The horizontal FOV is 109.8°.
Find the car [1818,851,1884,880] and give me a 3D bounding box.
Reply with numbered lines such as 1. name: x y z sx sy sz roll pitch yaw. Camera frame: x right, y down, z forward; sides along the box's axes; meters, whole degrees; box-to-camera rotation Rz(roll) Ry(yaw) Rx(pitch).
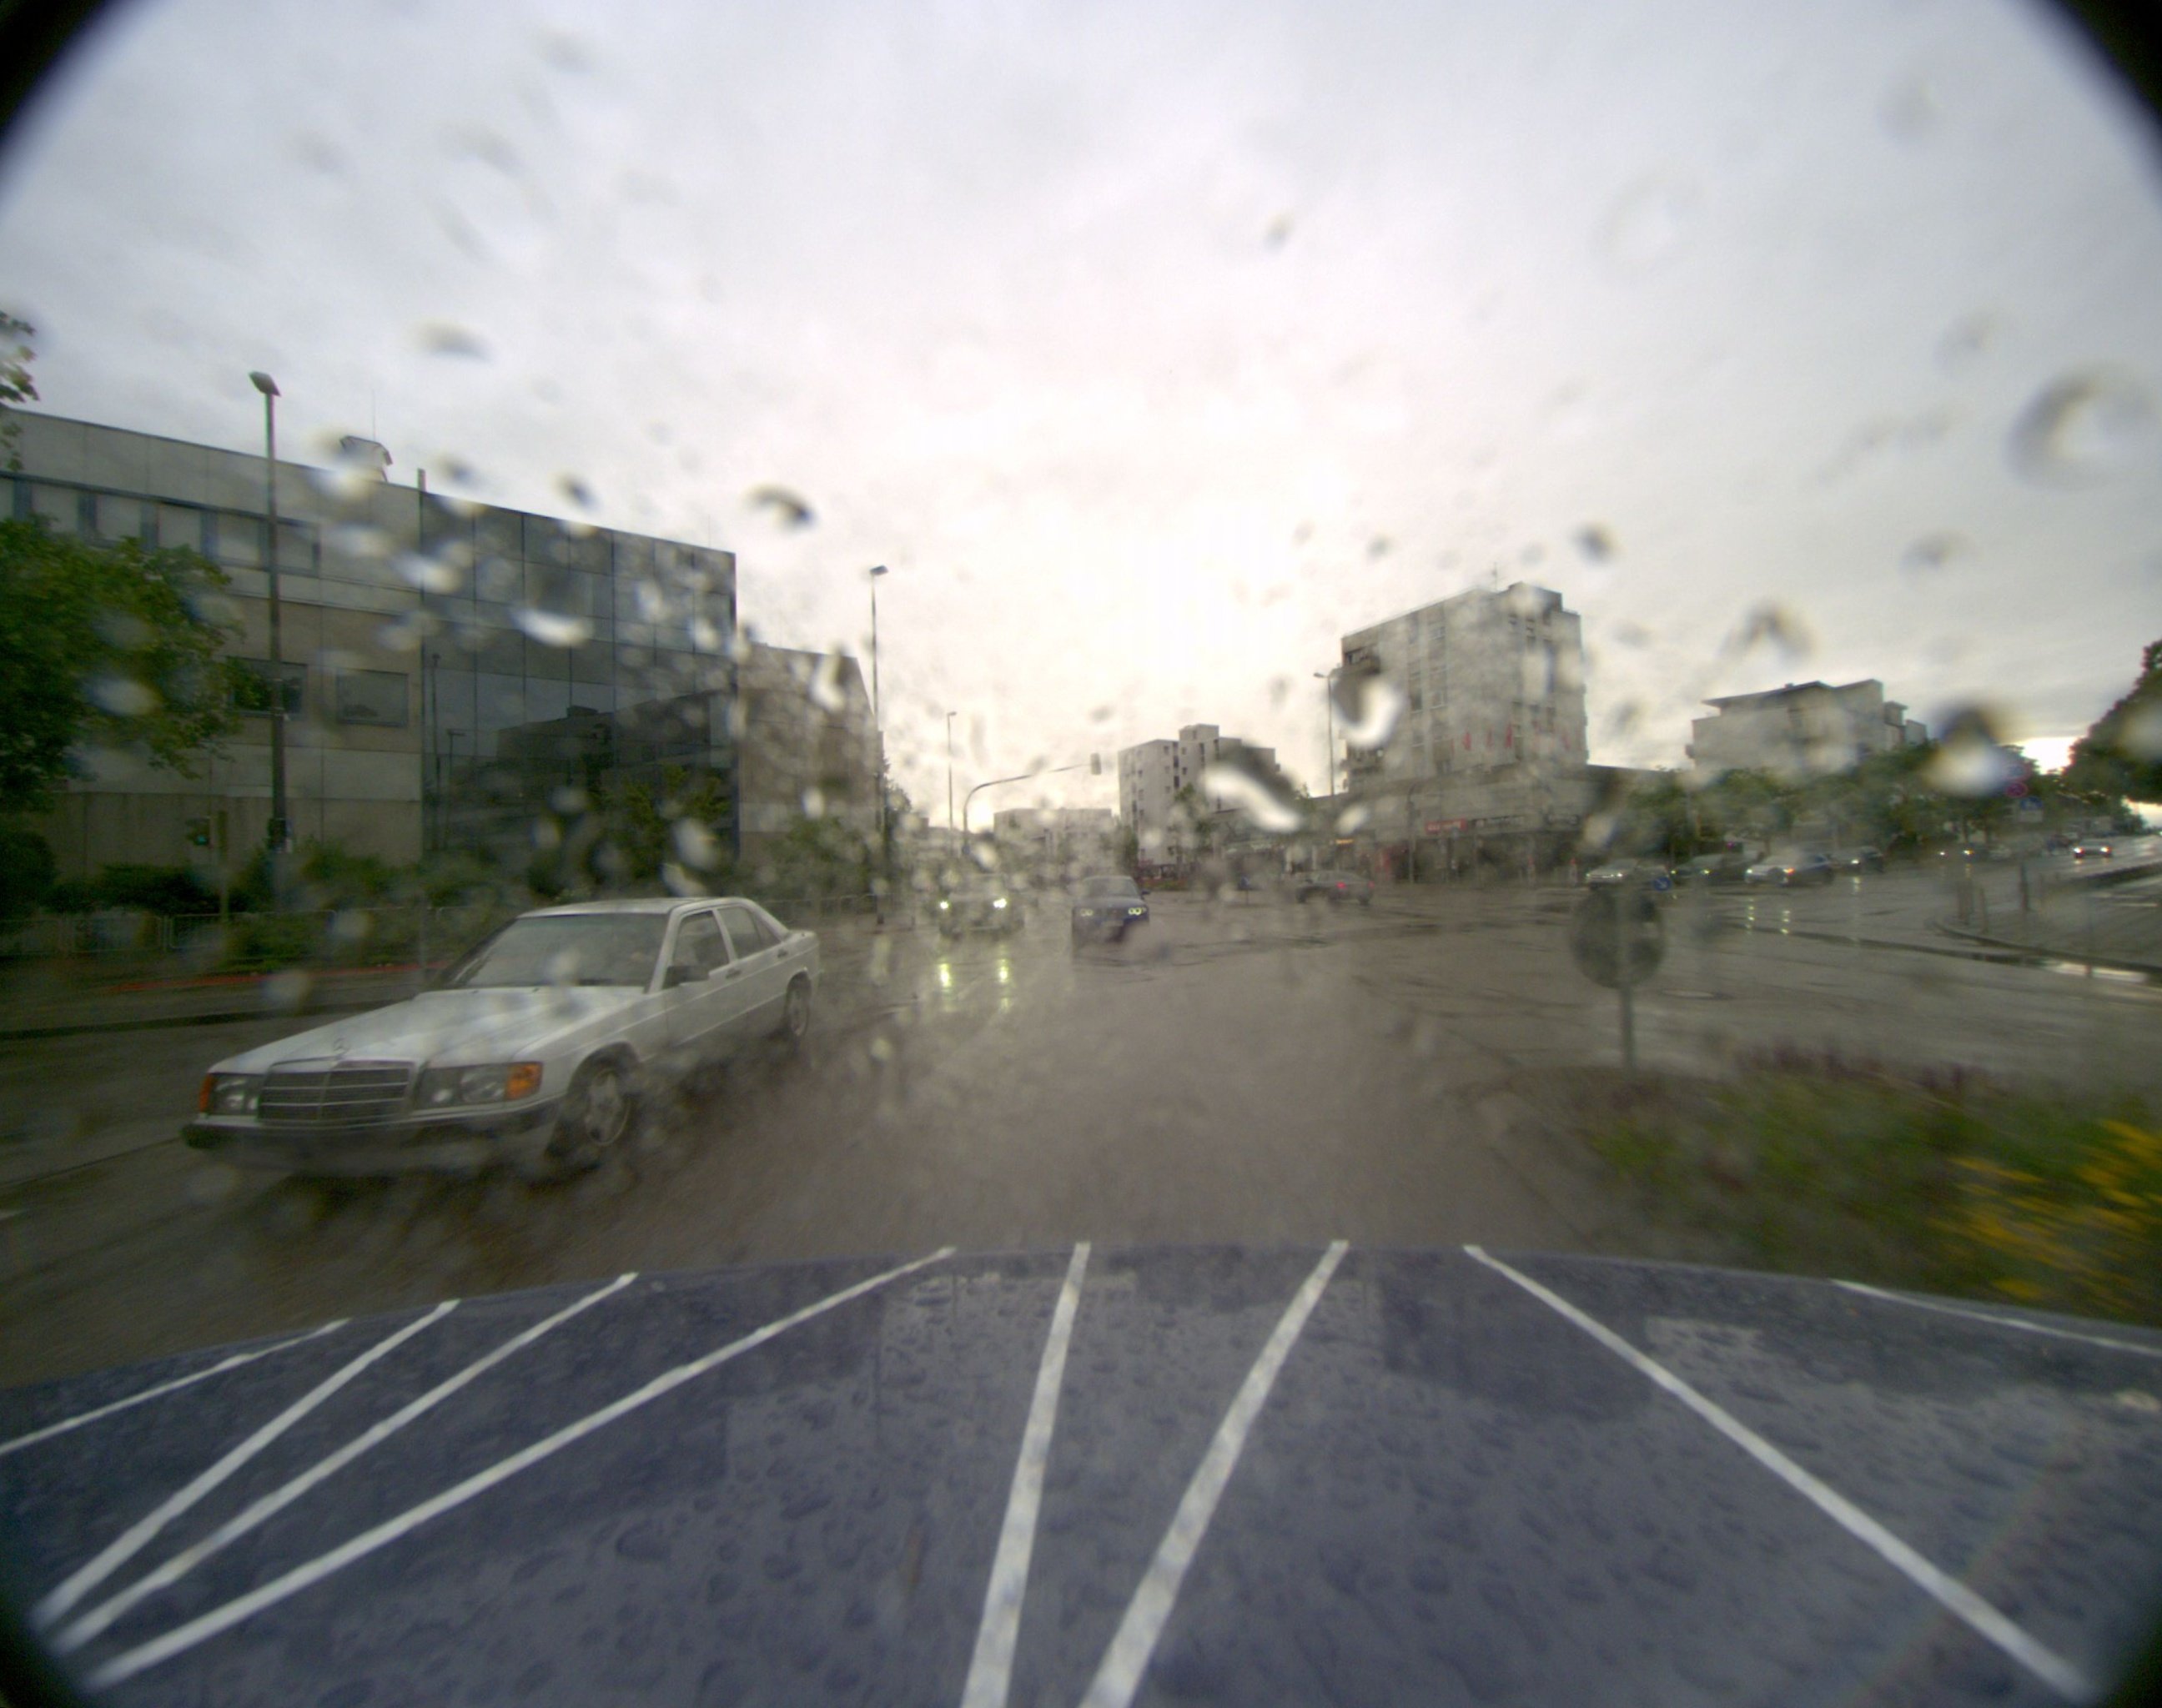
1. car: 46.300 0.672 45.692 4.006 1.585 1.713 -1 -2 -29

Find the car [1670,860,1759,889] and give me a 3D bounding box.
1. car: 32.963 1.060 39.531 4.063 1.411 1.867 -1 -2 -23

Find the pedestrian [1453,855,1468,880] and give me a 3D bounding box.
1. pedestrian: 27.442 0.989 54.949 0.714 1.681 0.658 -5 -6 13

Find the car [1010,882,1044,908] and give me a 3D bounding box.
1. car: -3.166 2.327 43.968 1.637 1.377 4.513 -2 -2 -7

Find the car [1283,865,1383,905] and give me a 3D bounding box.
1. car: 11.155 1.308 34.024 1.927 1.622 4.897 0 0 -14

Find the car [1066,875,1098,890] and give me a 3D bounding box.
1. car: 0.093 3.396 90.289 1.894 1.672 4.497 -2 -1 -26

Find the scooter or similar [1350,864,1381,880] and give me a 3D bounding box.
1. scooter or similar: 22.272 1.423 59.496 2.596 1.167 0.642 -1 -1 -27

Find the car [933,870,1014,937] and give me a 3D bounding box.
1. car: -2.932 1.325 21.505 1.907 1.611 4.335 -2 -2 -4

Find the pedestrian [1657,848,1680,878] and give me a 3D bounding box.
1. pedestrian: 37.435 0.593 48.438 0.720 1.882 0.808 -1 -1 -11

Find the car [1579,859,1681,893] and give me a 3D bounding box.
1. car: 26.623 1.039 36.888 4.209 1.586 1.867 0 0 -17

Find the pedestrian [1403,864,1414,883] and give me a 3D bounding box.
1. pedestrian: 23.276 1.360 54.032 0.497 1.340 0.537 -2 0 4

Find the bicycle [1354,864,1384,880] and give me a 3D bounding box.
1. bicycle: 23.377 1.434 61.655 2.556 1.215 0.695 -2 -1 -26

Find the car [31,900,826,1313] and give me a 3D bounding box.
1. car: -3.340 1.143 5.174 1.638 1.439 4.270 -2 -1 1

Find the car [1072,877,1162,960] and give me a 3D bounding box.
1. car: 0.677 1.335 16.677 1.676 1.533 3.914 -3 -2 -1

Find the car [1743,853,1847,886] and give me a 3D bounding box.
1. car: 33.797 0.731 35.979 4.061 1.411 1.771 -1 -2 -16

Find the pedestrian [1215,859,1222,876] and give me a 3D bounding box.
1. pedestrian: 15.009 1.502 82.916 0.427 1.837 0.500 -2 -1 -19

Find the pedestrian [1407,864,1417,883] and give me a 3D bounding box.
1. pedestrian: 23.219 1.356 53.310 0.497 1.339 0.537 -2 -1 6
